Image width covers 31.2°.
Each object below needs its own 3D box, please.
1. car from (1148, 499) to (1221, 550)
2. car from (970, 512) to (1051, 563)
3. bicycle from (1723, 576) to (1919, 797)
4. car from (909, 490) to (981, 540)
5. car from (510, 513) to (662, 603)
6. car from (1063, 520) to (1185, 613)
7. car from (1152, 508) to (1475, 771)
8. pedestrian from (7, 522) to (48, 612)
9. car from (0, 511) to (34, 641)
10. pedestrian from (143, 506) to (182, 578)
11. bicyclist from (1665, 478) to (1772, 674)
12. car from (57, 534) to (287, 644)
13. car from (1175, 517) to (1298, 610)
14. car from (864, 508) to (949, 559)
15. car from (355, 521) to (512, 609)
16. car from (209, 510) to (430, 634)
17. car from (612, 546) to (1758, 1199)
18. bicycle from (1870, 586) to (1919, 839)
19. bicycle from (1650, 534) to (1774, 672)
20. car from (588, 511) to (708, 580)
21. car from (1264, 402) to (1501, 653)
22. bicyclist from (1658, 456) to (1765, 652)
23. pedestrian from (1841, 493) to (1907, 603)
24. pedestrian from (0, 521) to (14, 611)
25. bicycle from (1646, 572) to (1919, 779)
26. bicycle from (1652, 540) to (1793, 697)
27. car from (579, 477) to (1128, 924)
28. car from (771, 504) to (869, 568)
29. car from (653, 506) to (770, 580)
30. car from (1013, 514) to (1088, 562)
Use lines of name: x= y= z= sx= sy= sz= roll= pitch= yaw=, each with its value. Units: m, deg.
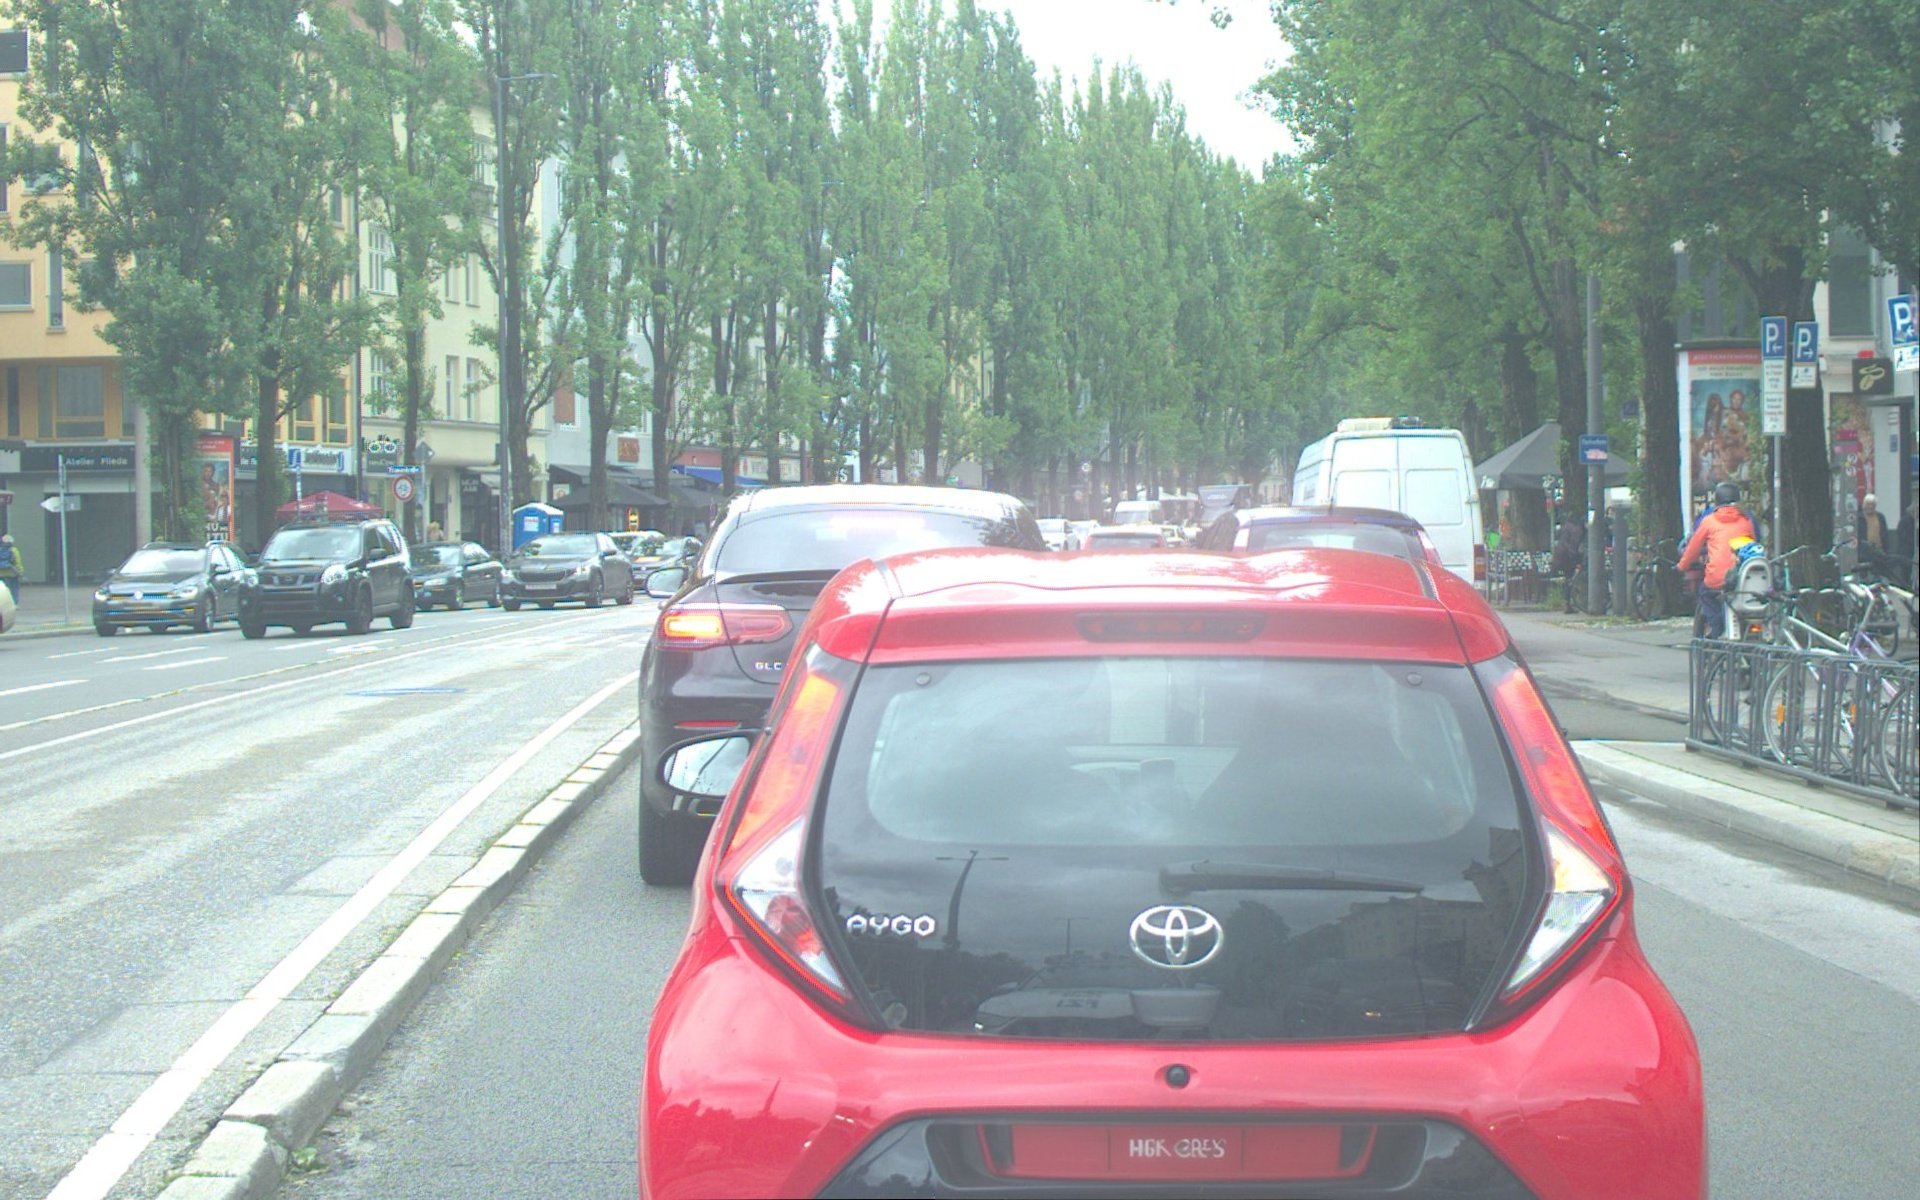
car: x=6.496 y=-2.189 z=99.133 sx=1.773 sy=1.434 sz=3.937 roll=-1 pitch=2 yaw=9
car: x=1.762 y=-2.187 z=118.876 sx=1.994 sy=1.686 sz=4.412 roll=-1 pitch=2 yaw=11
bicycle: x=5.019 y=0.449 z=18.162 sx=1.836 sy=1.132 sz=0.585 roll=0 pitch=2 yaw=35
car: x=-0.566 y=-3.359 z=136.287 sx=1.994 sy=1.927 sz=4.412 roll=0 pitch=1 yaw=11
car: x=-7.352 y=-0.862 z=68.091 sx=1.994 sy=1.686 sz=4.920 roll=-1 pitch=2 yaw=6
car: x=2.619 y=-0.569 z=55.524 sx=1.699 sy=1.421 sz=3.497 roll=-1 pitch=1 yaw=-2
car: x=2.292 y=0.200 z=23.075 sx=1.703 sy=1.584 sz=3.556 roll=-1 pitch=1 yaw=-1
pedestrian: x=-20.799 y=-0.735 z=76.696 sx=0.687 sy=1.990 sz=0.765 roll=-1 pitch=1 yaw=-1
car: x=-14.658 y=-0.272 z=47.051 sx=1.994 sy=1.810 sz=4.531 roll=-1 pitch=2 yaw=11
pedestrian: x=-20.132 y=-1.463 z=86.810 sx=0.688 sy=1.804 sz=0.765 roll=-1 pitch=1 yaw=11
bicyclist: x=6.532 y=-0.219 z=29.641 sx=0.614 sy=1.652 sz=1.251 roll=-1 pitch=1 yaw=-1
car: x=-12.531 y=-0.209 z=54.996 sx=1.994 sy=1.604 sz=4.531 roll=-1 pitch=2 yaw=9
car: x=4.638 y=-0.636 z=58.037 sx=1.702 sy=1.524 sz=3.556 roll=0 pitch=1 yaw=-1
car: x=-1.812 y=-2.299 z=118.296 sx=1.994 sy=1.686 sz=4.412 roll=-1 pitch=2 yaw=11
car: x=-10.755 y=-0.751 z=70.543 sx=1.994 sy=1.686 sz=4.920 roll=-1 pitch=1 yaw=6
car: x=-9.354 y=-0.459 z=50.616 sx=1.994 sy=1.686 sz=4.921 roll=-1 pitch=2 yaw=4
car: x=0.302 y=0.650 z=6.407 sx=1.605 sy=1.456 sz=3.130 roll=0 pitch=1 yaw=0
bicycle: x=5.081 y=0.512 z=15.434 sx=1.836 sy=1.132 sz=0.585 roll=0 pitch=2 yaw=35
bicycle: x=7.295 y=0.009 z=33.452 sx=0.614 sy=1.260 sz=2.520 roll=-1 pitch=2 yaw=-1
car: x=-7.999 y=-1.419 z=88.601 sx=1.994 sy=1.686 sz=4.920 roll=-1 pitch=1 yaw=8
car: x=4.831 y=-0.854 z=39.970 sx=2.107 sy=2.709 sz=4.804 roll=-1 pitch=1 yaw=0
bicyclist: x=7.305 y=-0.456 z=33.466 sx=0.762 sy=1.863 sz=1.133 roll=-1 pitch=1 yaw=-1
pedestrian: x=13.377 y=-0.767 z=50.309 sx=0.764 sy=1.588 sz=0.676 roll=-1 pitch=1 yaw=-1
pedestrian: x=-21.547 y=-0.753 z=76.611 sx=0.687 sy=1.990 sz=0.765 roll=-1 pitch=1 yaw=-1
bicycle: x=4.897 y=0.413 z=19.628 sx=1.836 sy=1.132 sz=0.585 roll=0 pitch=2 yaw=35
bicycle: x=6.553 y=0.135 z=29.659 sx=0.614 sy=1.260 sz=2.520 roll=-1 pitch=2 yaw=-1
car: x=-0.450 y=0.318 z=14.632 sx=1.993 sy=1.612 sz=4.001 roll=-1 pitch=1 yaw=-2
car: x=-3.780 y=-1.756 z=93.779 sx=1.994 sy=1.686 sz=4.920 roll=0 pitch=1 yaw=6
car: x=-5.959 y=-1.399 z=82.939 sx=1.994 sy=1.686 sz=4.920 roll=-1 pitch=1 yaw=6
car: x=3.351 y=-2.300 z=126.178 sx=1.994 sy=1.686 sz=4.412 roll=-1 pitch=2 yaw=11
